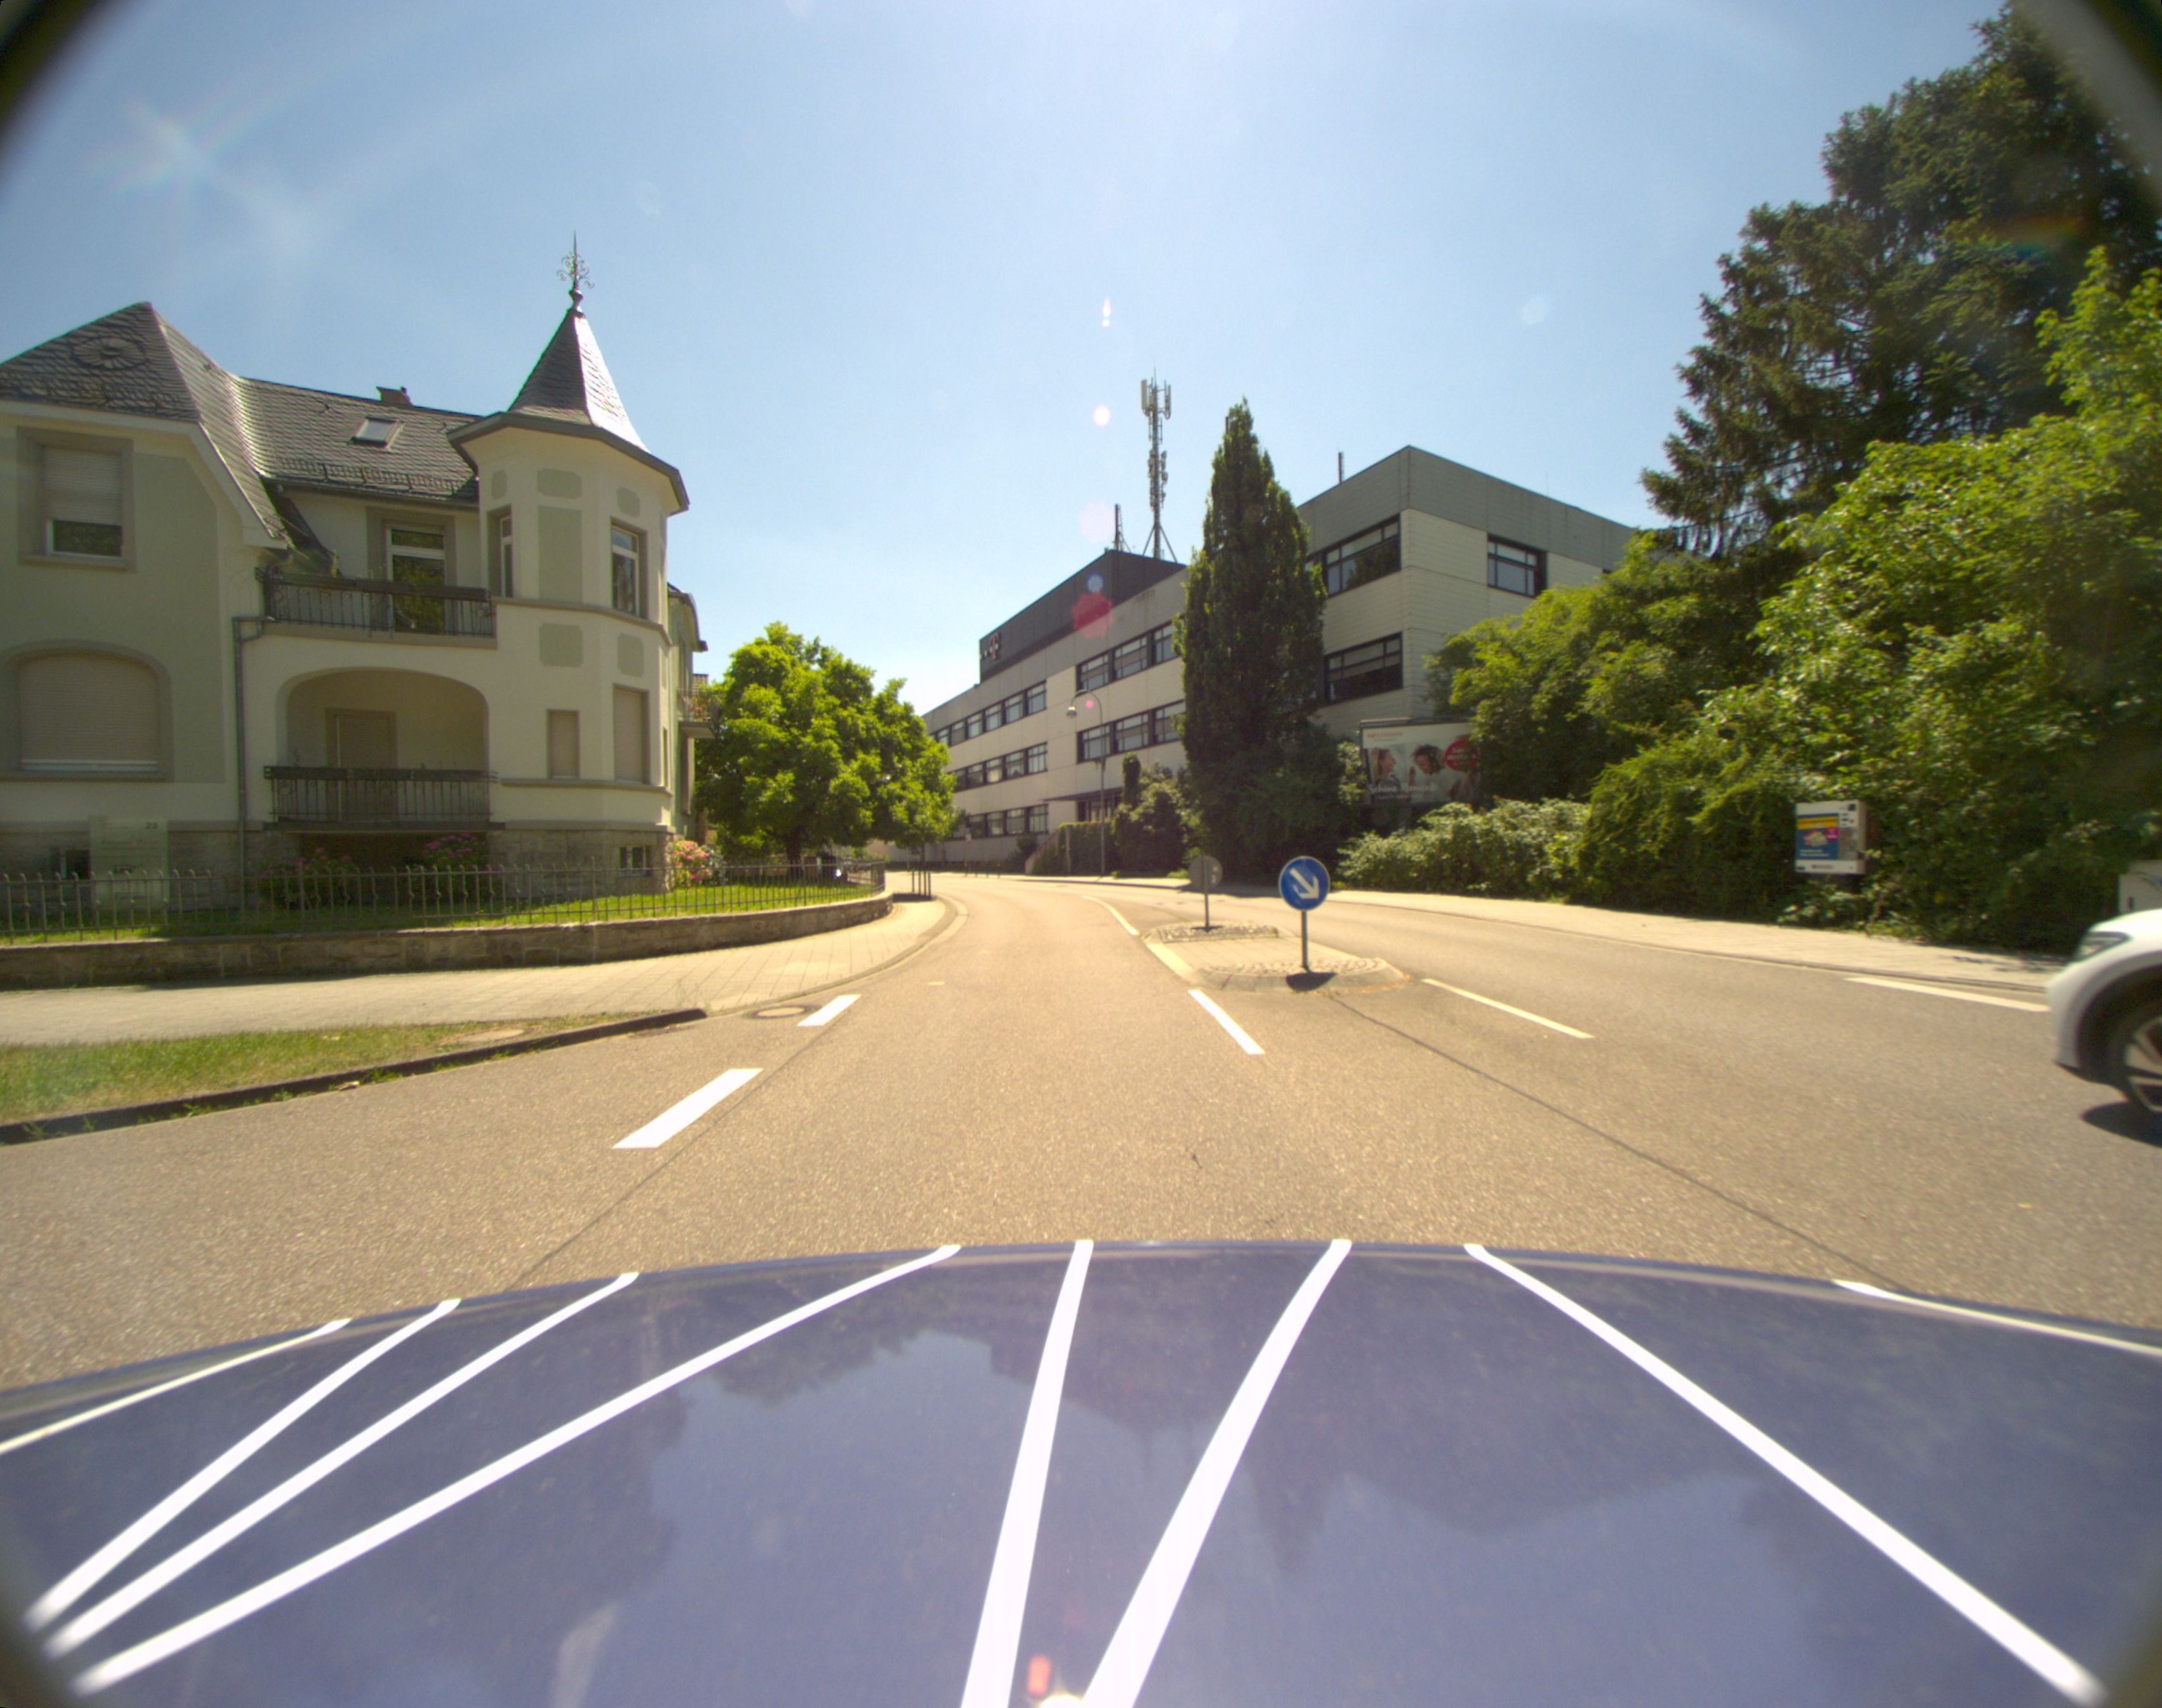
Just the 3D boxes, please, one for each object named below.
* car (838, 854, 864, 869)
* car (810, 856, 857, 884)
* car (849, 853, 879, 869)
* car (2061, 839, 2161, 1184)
[{"bbox_3d":[-24.136,0.763,79.585,1.749,1.494,3.725,-2,1,-31],"label":"car"},{"bbox_3d":[-14.640,0.900,44.780,1.778,1.532,3.990,-1,0,-31],"label":"car"},{"bbox_3d":[-21.427,0.706,74.921,1.739,1.441,4.020,-3,1,-31],"label":"car"},{"bbox_3d":[5.742,0.667,1.539,1.849,1.521,4.338,-2,0,-2],"label":"car"}]
